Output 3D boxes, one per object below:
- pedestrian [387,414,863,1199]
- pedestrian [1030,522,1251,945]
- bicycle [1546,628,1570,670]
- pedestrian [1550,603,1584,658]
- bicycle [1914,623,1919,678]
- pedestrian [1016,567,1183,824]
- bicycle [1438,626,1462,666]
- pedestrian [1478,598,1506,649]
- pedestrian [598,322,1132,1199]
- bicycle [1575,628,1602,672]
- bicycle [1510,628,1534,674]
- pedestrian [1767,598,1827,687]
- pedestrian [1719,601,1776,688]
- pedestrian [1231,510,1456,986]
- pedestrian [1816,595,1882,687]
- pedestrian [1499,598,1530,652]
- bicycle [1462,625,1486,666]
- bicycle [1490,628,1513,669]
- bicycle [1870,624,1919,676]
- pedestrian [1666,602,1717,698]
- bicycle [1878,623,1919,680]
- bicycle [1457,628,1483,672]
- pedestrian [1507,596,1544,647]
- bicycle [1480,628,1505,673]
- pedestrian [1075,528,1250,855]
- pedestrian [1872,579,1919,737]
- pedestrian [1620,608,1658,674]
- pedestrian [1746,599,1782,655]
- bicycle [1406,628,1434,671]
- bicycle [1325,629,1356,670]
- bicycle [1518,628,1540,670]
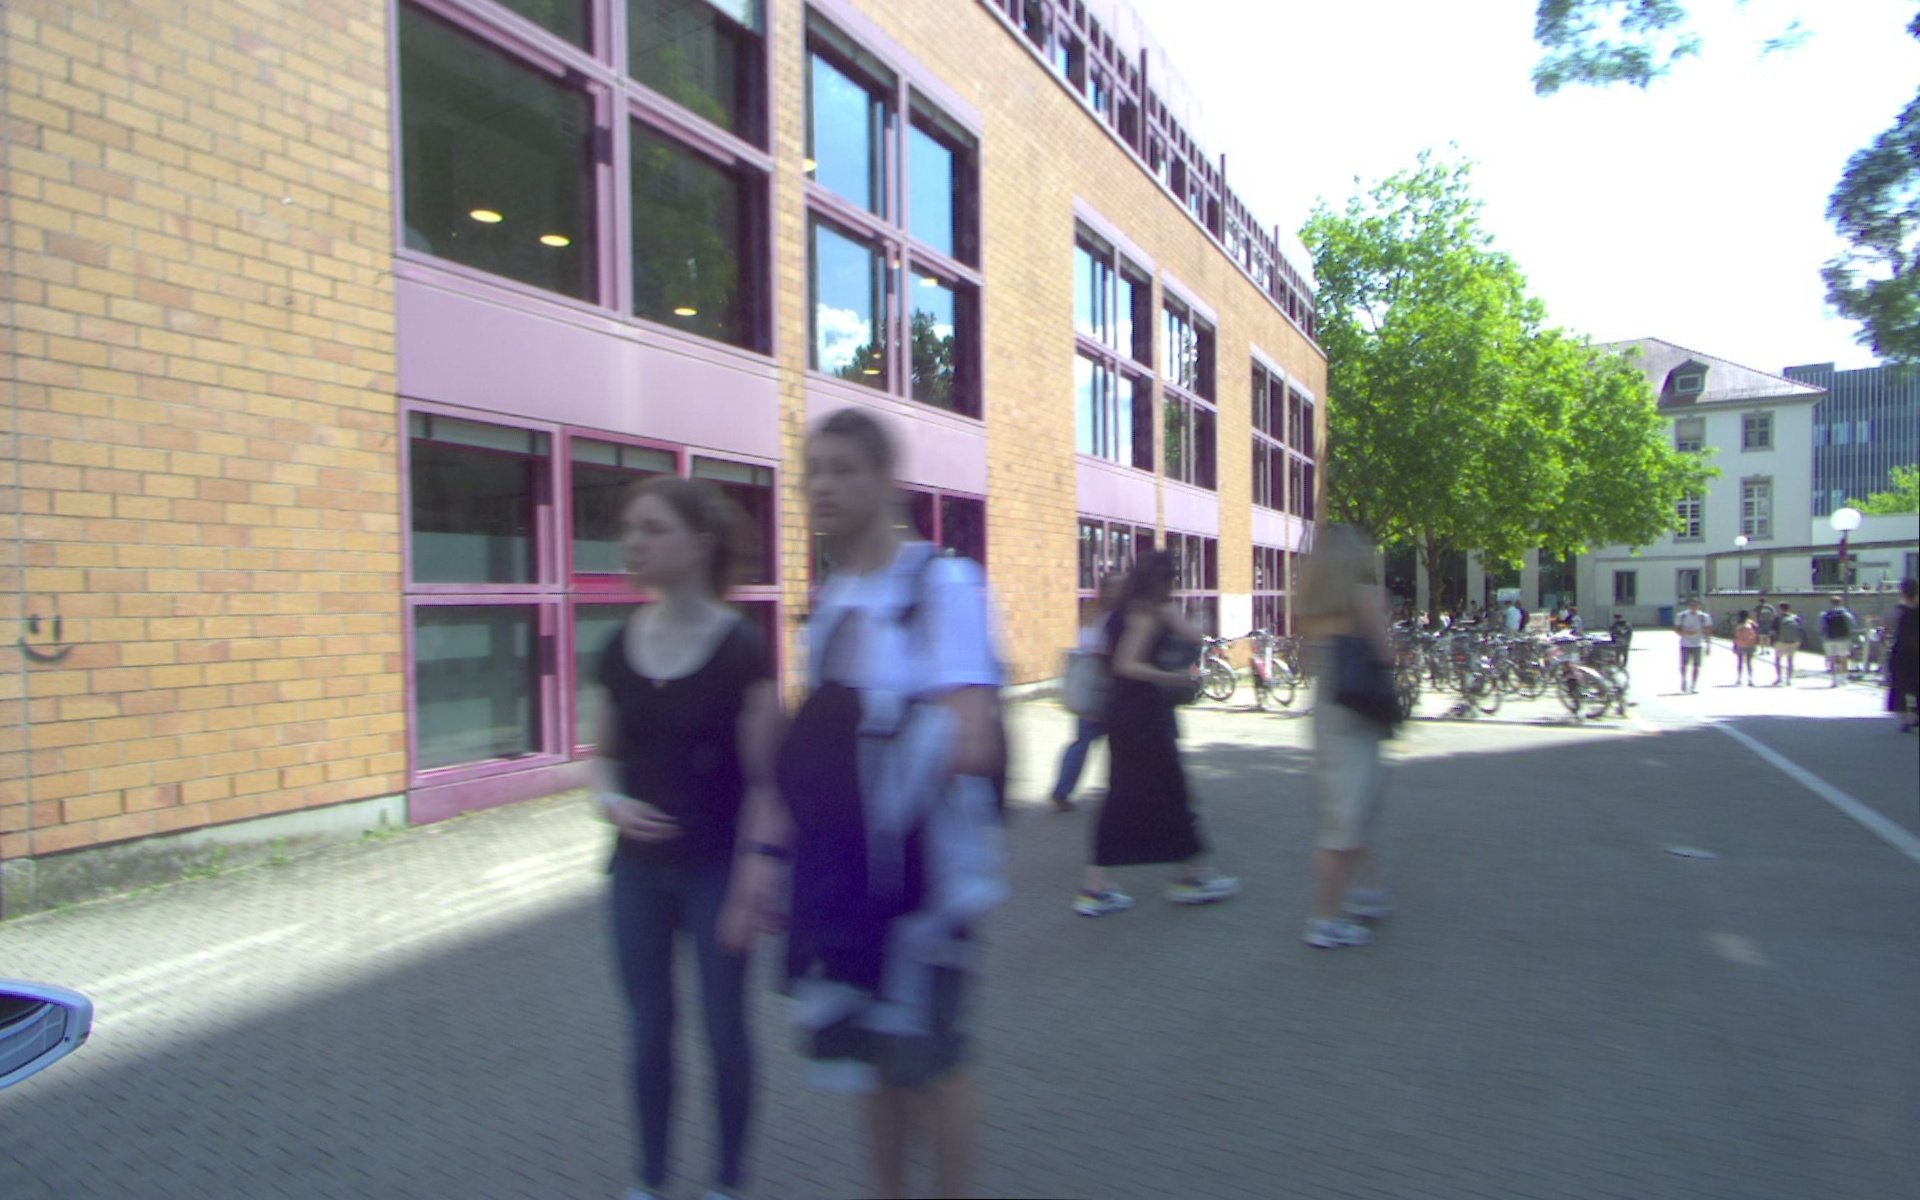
[{"bbox_3d":[-0.690,0.536,2.138,0.581,1.695,0.693,-2,1,38],"label":"pedestrian"},{"bbox_3d":[0.837,0.522,4.529,0.635,1.695,0.882,1,3,38],"label":"pedestrian"},{"bbox_3d":[17.267,1.397,28.929,0.537,1.184,1.994,-1,-2,30],"label":"bicycle"},{"bbox_3d":[19.830,0.990,32.742,0.673,1.750,0.903,-3,-1,18],"label":"pedestrian"},{"bbox_3d":[20.915,1.085,21.222,0.537,1.184,1.994,-1,-2,30],"label":"bicycle"},{"bbox_3d":[0.942,0.585,6.678,0.734,1.563,0.882,-1,1,38],"label":"pedestrian"},{"bbox_3d":[14.917,1.376,30.465,0.537,1.184,1.994,-1,-2,30],"label":"bicycle"},{"bbox_3d":[18.563,0.822,34.964,0.672,1.751,0.903,-1,0,16],"label":"pedestrian"},{"bbox_3d":[-0.140,0.518,1.900,0.581,1.818,0.763,-2,1,38],"label":"pedestrian"},{"bbox_3d":[17.860,1.401,28.475,0.537,1.184,1.994,-1,-2,30],"label":"bicycle"},{"bbox_3d":[15.295,1.365,27.245,0.537,1.184,1.994,-1,-2,30],"label":"bicycle"},{"bbox_3d":[17.065,0.863,20.435,0.674,1.750,0.901,-3,-1,26],"label":"pedestrian"},{"bbox_3d":[16.341,0.918,20.790,0.674,1.750,0.901,-3,-1,26],"label":"pedestrian"},{"bbox_3d":[1.585,0.515,4.075,0.552,1.696,0.882,-1,5,38],"label":"pedestrian"},{"bbox_3d":[17.472,0.803,19.705,0.674,1.750,0.901,-3,-1,26],"label":"pedestrian"},{"bbox_3d":[19.361,0.863,34.987,0.673,1.846,0.903,-3,-1,18],"label":"pedestrian"},{"bbox_3d":[15.499,1.362,30.158,0.537,1.184,1.994,-1,-2,30],"label":"bicycle"},{"bbox_3d":[16.093,1.415,29.728,0.537,1.184,1.994,-1,-2,30],"label":"bicycle"},{"bbox_3d":[22.489,1.182,24.039,0.537,1.184,1.994,-1,-2,30],"label":"bicycle"},{"bbox_3d":[13.807,0.931,18.900,0.676,1.750,0.898,-3,-1,37],"label":"pedestrian"},{"bbox_3d":[20.330,1.086,21.459,0.537,1.184,1.994,-1,-2,30],"label":"bicycle"},{"bbox_3d":[14.305,1.386,28.054,0.537,1.184,1.994,-1,-2,30],"label":"bicycle"},{"bbox_3d":[20.981,0.806,37.176,0.673,1.846,0.902,-3,-1,-24],"label":"pedestrian"},{"bbox_3d":[14.750,1.374,27.727,0.537,1.184,1.994,-1,-2,30],"label":"bicycle"},{"bbox_3d":[1.175,0.478,5.733,0.581,1.694,0.925,-2,1,38],"label":"pedestrian"},{"bbox_3d":[10.385,0.617,10.905,0.581,1.672,0.849,-2,-1,38],"label":"pedestrian"},{"bbox_3d":[18.673,1.117,27.563,0.674,1.750,0.901,-3,-1,26],"label":"pedestrian"},{"bbox_3d":[26.072,0.873,32.483,0.674,1.750,0.901,-3,-1,26],"label":"pedestrian"},{"bbox_3d":[13.229,1.411,28.756,0.537,1.184,1.994,-1,-2,30],"label":"bicycle"},{"bbox_3d":[11.374,1.456,29.910,0.537,1.184,1.994,-1,-2,30],"label":"bicycle"},{"bbox_3d":[16.643,1.416,29.273,0.537,1.184,1.994,-1,-2,30],"label":"bicycle"}]
